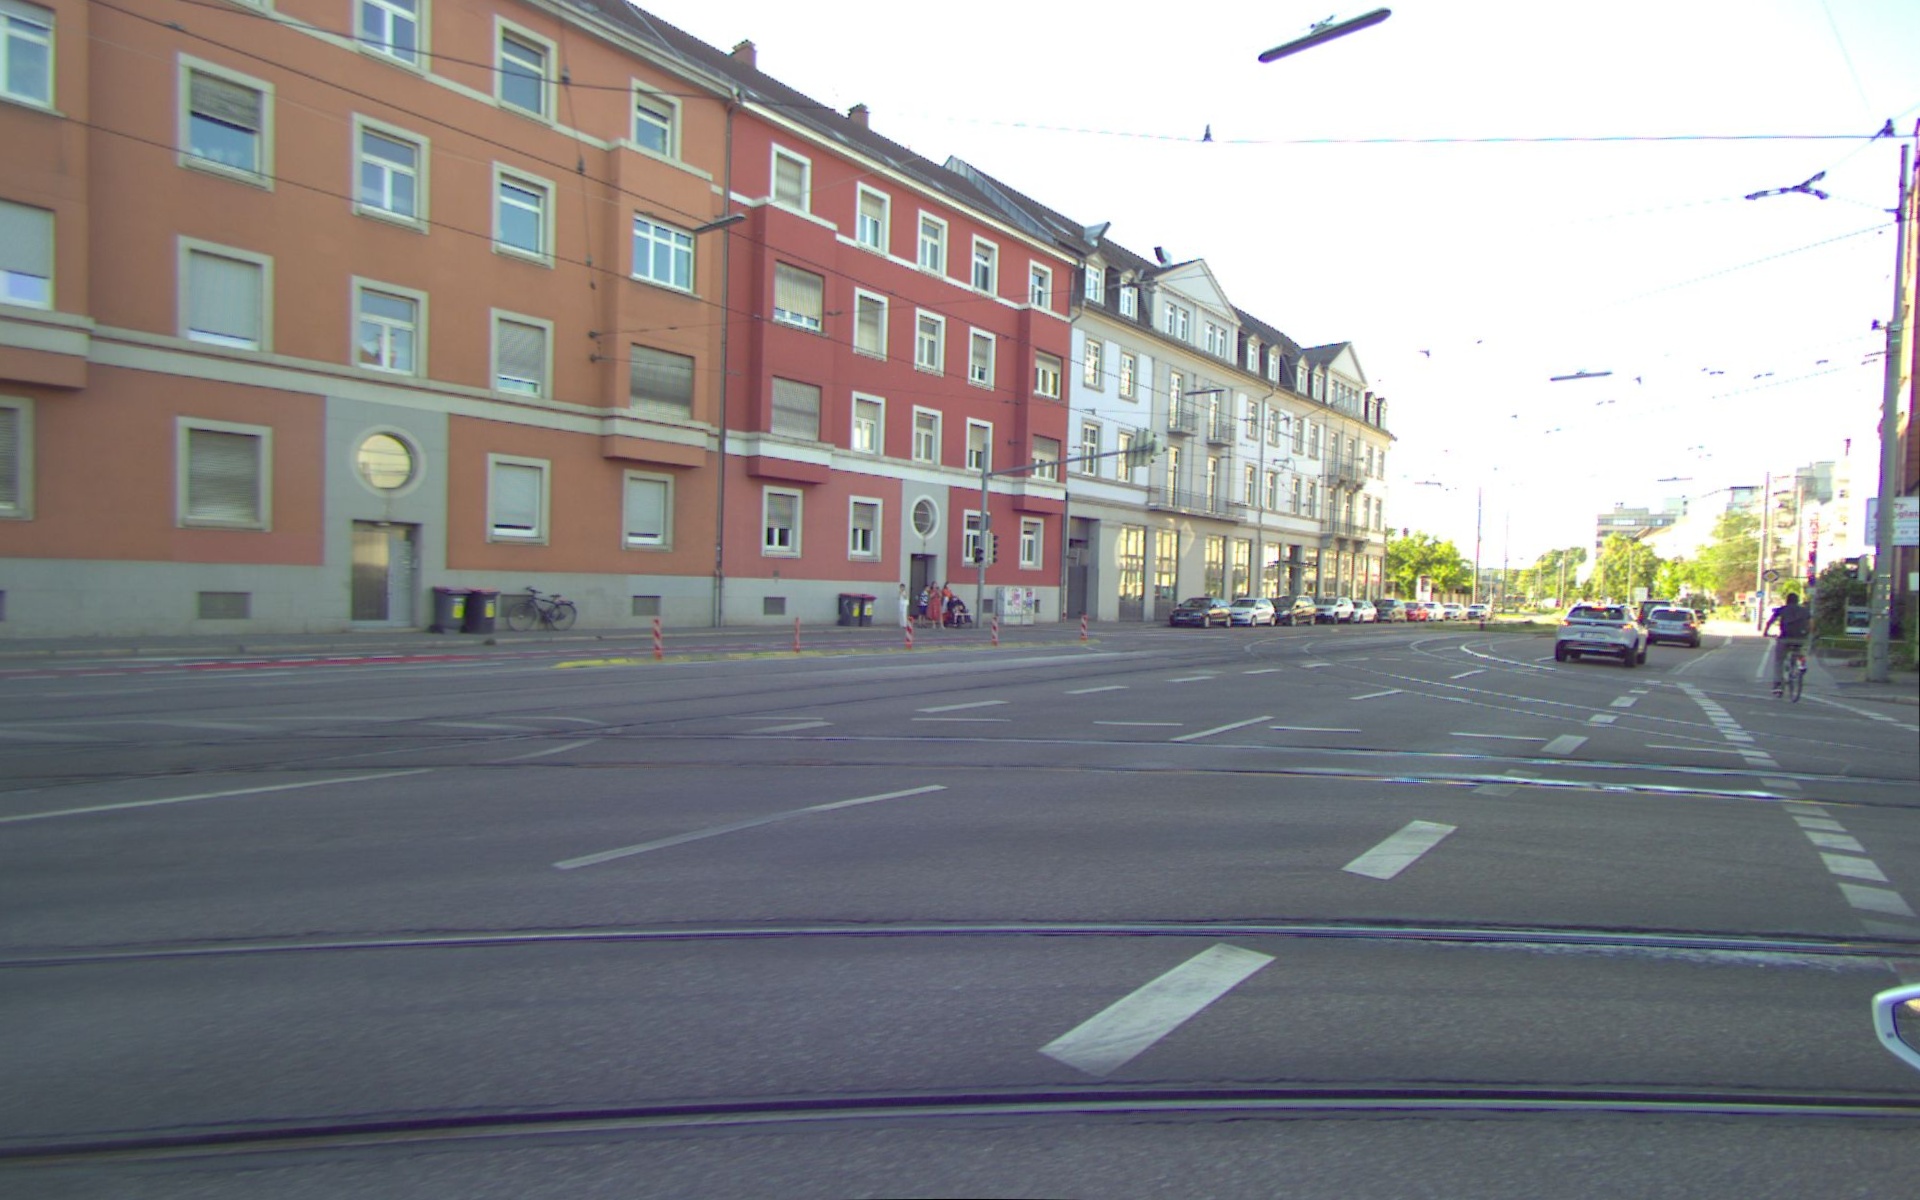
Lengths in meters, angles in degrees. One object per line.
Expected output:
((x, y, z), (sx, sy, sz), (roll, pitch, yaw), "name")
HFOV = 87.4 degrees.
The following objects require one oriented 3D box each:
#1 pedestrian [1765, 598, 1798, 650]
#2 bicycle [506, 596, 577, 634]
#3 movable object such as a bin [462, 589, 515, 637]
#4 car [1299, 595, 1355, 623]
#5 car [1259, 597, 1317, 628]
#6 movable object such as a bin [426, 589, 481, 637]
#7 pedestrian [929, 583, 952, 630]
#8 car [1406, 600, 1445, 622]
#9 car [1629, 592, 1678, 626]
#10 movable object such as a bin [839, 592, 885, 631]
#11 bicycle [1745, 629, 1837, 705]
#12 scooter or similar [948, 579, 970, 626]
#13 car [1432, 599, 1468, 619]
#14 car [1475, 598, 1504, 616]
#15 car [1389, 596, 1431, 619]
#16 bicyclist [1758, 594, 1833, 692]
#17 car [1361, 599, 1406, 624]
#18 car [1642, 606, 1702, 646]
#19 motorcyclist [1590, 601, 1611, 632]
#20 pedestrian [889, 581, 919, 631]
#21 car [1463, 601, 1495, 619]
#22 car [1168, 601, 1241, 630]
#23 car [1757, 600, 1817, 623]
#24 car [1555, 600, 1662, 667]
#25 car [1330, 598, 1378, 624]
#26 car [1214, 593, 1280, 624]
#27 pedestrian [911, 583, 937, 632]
((30.517, 0.882, 37.315), (0.865, 1.849, 1.178), (3, 2, 41), "pedestrian")
((-10.313, 0.380, 24.790), (0.331, 0.902, 1.594), (3, 1, 44), "bicycle")
((-11.042, 0.298, 23.535), (0.832, 1.054, 0.808), (2, 1, 36), "movable object such as a bin")
((21.926, 0.540, 59.940), (1.813, 1.573, 4.254), (2, 1, 40), "car")
((17.845, 0.651, 54.560), (1.699, 1.573, 3.838), (2, 1, 40), "car")
((-11.544, 0.287, 22.904), (0.832, 1.054, 0.808), (2, 1, 36), "movable object such as a bin")
((-0.701, 0.217, 36.014), (0.641, 1.655, 0.796), (2, 1, 8), "pedestrian")
((35.217, 0.864, 75.964), (1.699, 1.573, 3.981), (2, 1, 40), "car")
((44.075, 0.588, 63.814), (2.146, 2.036, 4.786), (2, 1, 39), "car")
((-3.245, 0.376, 33.146), (1.225, 1.266, 0.862), (1, 1, -44), "movable object such as a bin")
((13.896, 1.088, 16.857), (0.759, 1.101, 1.868), (2, 1, 27), "bicycle")
((-0.042, 0.077, 35.991), (0.641, 1.655, 0.796), (2, 1, 8), "scooter or similar")
((40.243, 0.744, 82.492), (1.699, 1.573, 3.981), (3, 1, 40), "car")
((50.514, 0.660, 95.804), (1.699, 1.573, 3.981), (2, 1, 40), "car")
((32.369, 0.530, 72.187), (1.699, 1.573, 3.981), (2, 1, 40), "car")
((13.990, 0.695, 16.855), (0.823, 1.545, 0.990), (3, 1, 35), "bicyclist")
((28.549, 0.753, 67.650), (1.699, 1.573, 3.981), (2, 1, 40), "car")
((30.633, 1.087, 43.176), (1.792, 1.603, 3.982), (2, 1, 39), "car")
((31.388, 0.804, 49.236), (0.767, 1.442, 0.887), (3, 2, 38), "motorcyclist")
((-1.911, 0.183, 34.069), (0.779, 1.655, 0.655), (2, 1, 19), "pedestrian")
((47.012, 0.905, 90.923), (1.699, 1.573, 3.981), (2, 1, 40), "car")
((11.307, 0.693, 46.353), (1.699, 1.249, 3.981), (2, 1, 40), "car")
((81.417, 1.122, 98.988), (4.197, 2.041, 1.995), (3, 1, 31), "car")
((17.262, 0.826, 26.648), (1.924, 1.549, 4.071), (3, 2, 39), "car")
((25.114, 0.696, 63.943), (1.699, 1.573, 3.981), (2, 1, 40), "car")
((14.569, 0.421, 50.877), (1.699, 1.471, 3.981), (2, 1, 40), "car")
((-1.249, 0.253, 34.939), (0.815, 1.655, 0.795), (2, 1, 2), "pedestrian")
